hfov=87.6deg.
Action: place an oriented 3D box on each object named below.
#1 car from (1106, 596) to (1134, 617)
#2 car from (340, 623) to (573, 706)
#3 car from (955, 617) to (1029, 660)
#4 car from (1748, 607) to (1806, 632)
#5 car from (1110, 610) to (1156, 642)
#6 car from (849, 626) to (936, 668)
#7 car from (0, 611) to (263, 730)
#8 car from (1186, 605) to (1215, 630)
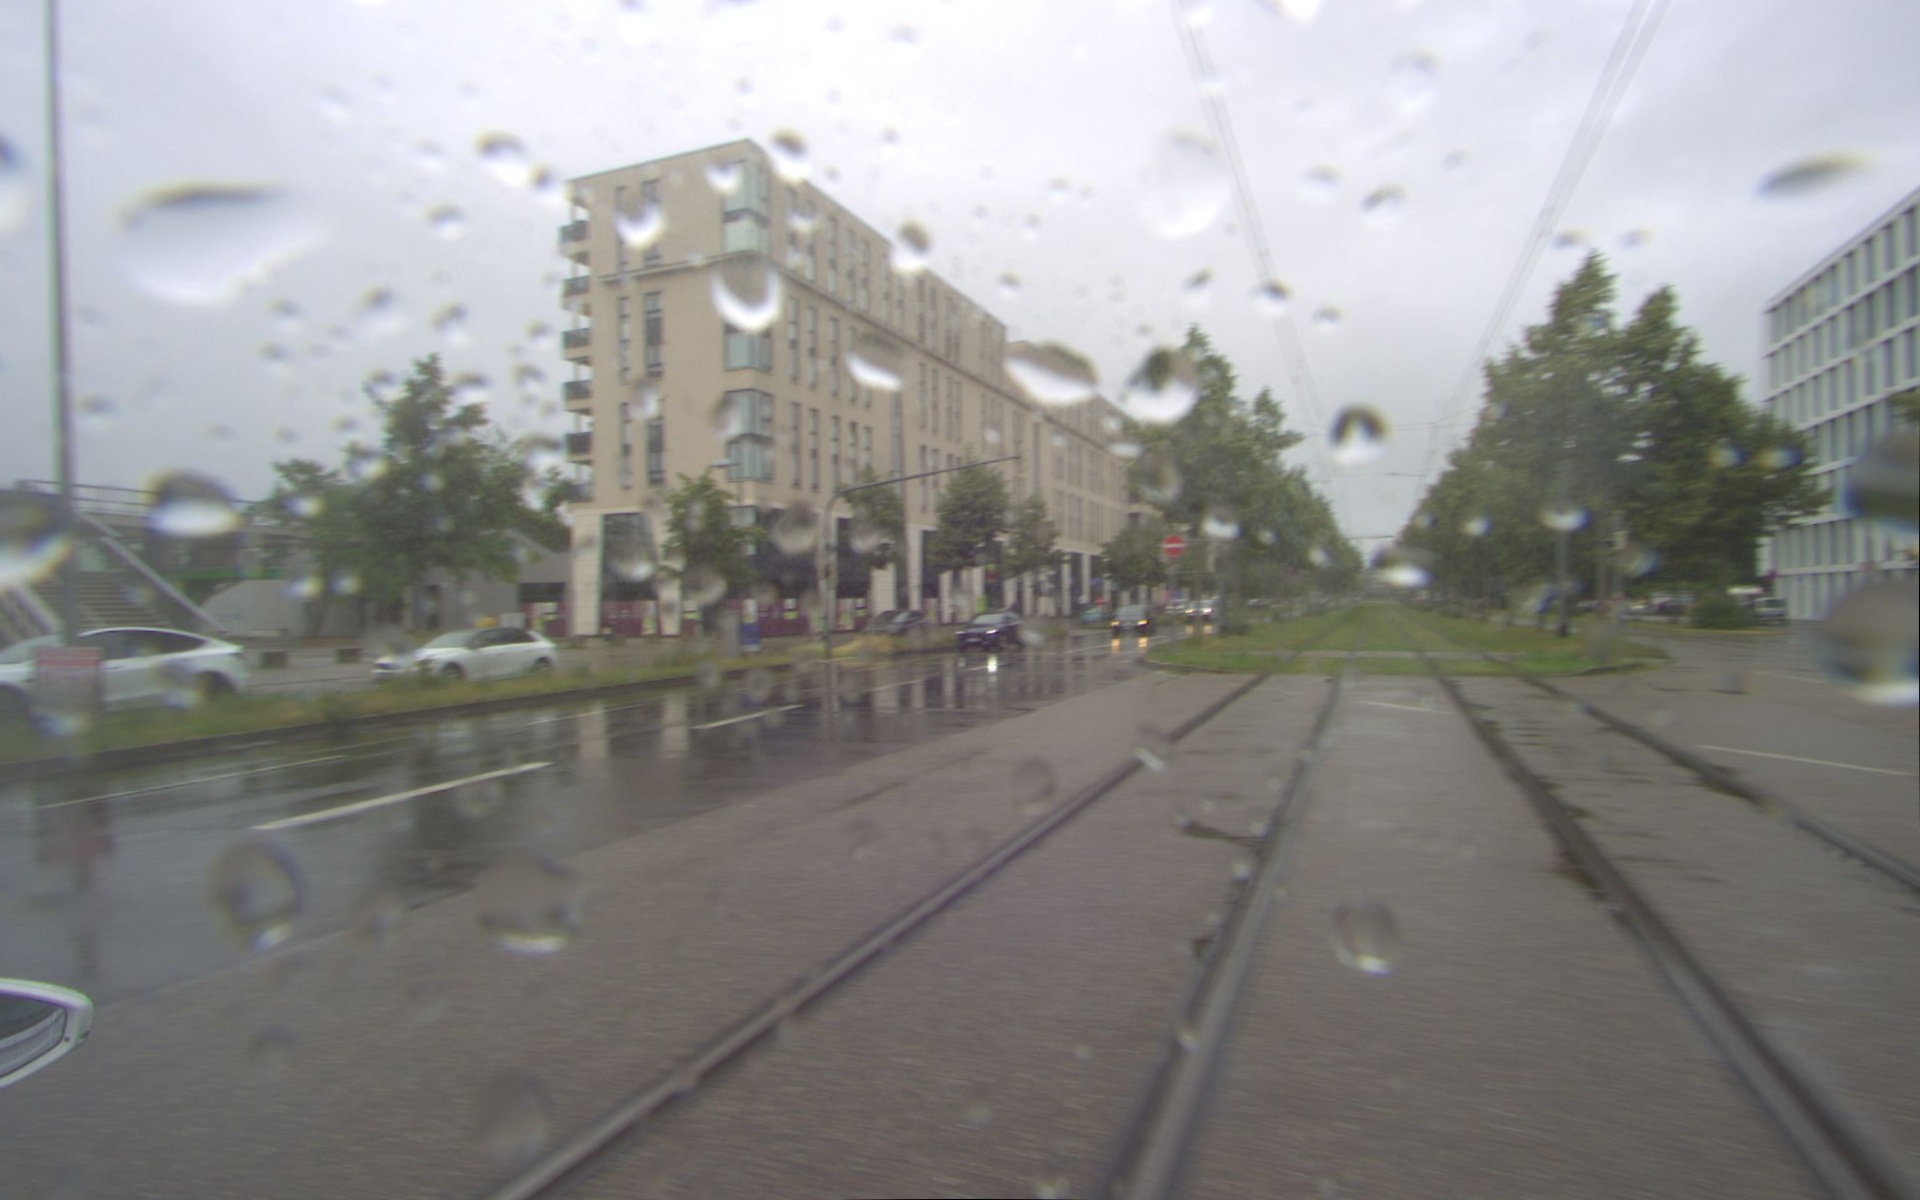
[{"bbox_3d":[13.260,0.574,82.885,1.614,1.608,3.924,-1,-2,18],"label":"car"},{"bbox_3d":[-11.627,1.442,23.570,1.966,1.729,4.829,-1,-2,22],"label":"car"},{"bbox_3d":[1.297,1.461,38.460,1.659,1.549,3.961,-1,-2,21],"label":"car"},{"bbox_3d":[55.278,1.331,67.832,1.714,1.629,4.229,-1,-2,20],"label":"car"},{"bbox_3d":[8.869,1.355,51.247,1.630,1.549,3.768,-1,-2,21],"label":"car"},{"bbox_3d":[-2.893,2.044,44.064,1.966,1.729,4.829,-1,-2,22],"label":"car"},{"bbox_3d":[-14.322,1.083,16.110,1.966,1.729,4.829,-1,-2,22],"label":"car"},{"bbox_3d":[20.016,1.487,83.327,1.729,1.950,3.991,-1,-2,23],"label":"car"}]
